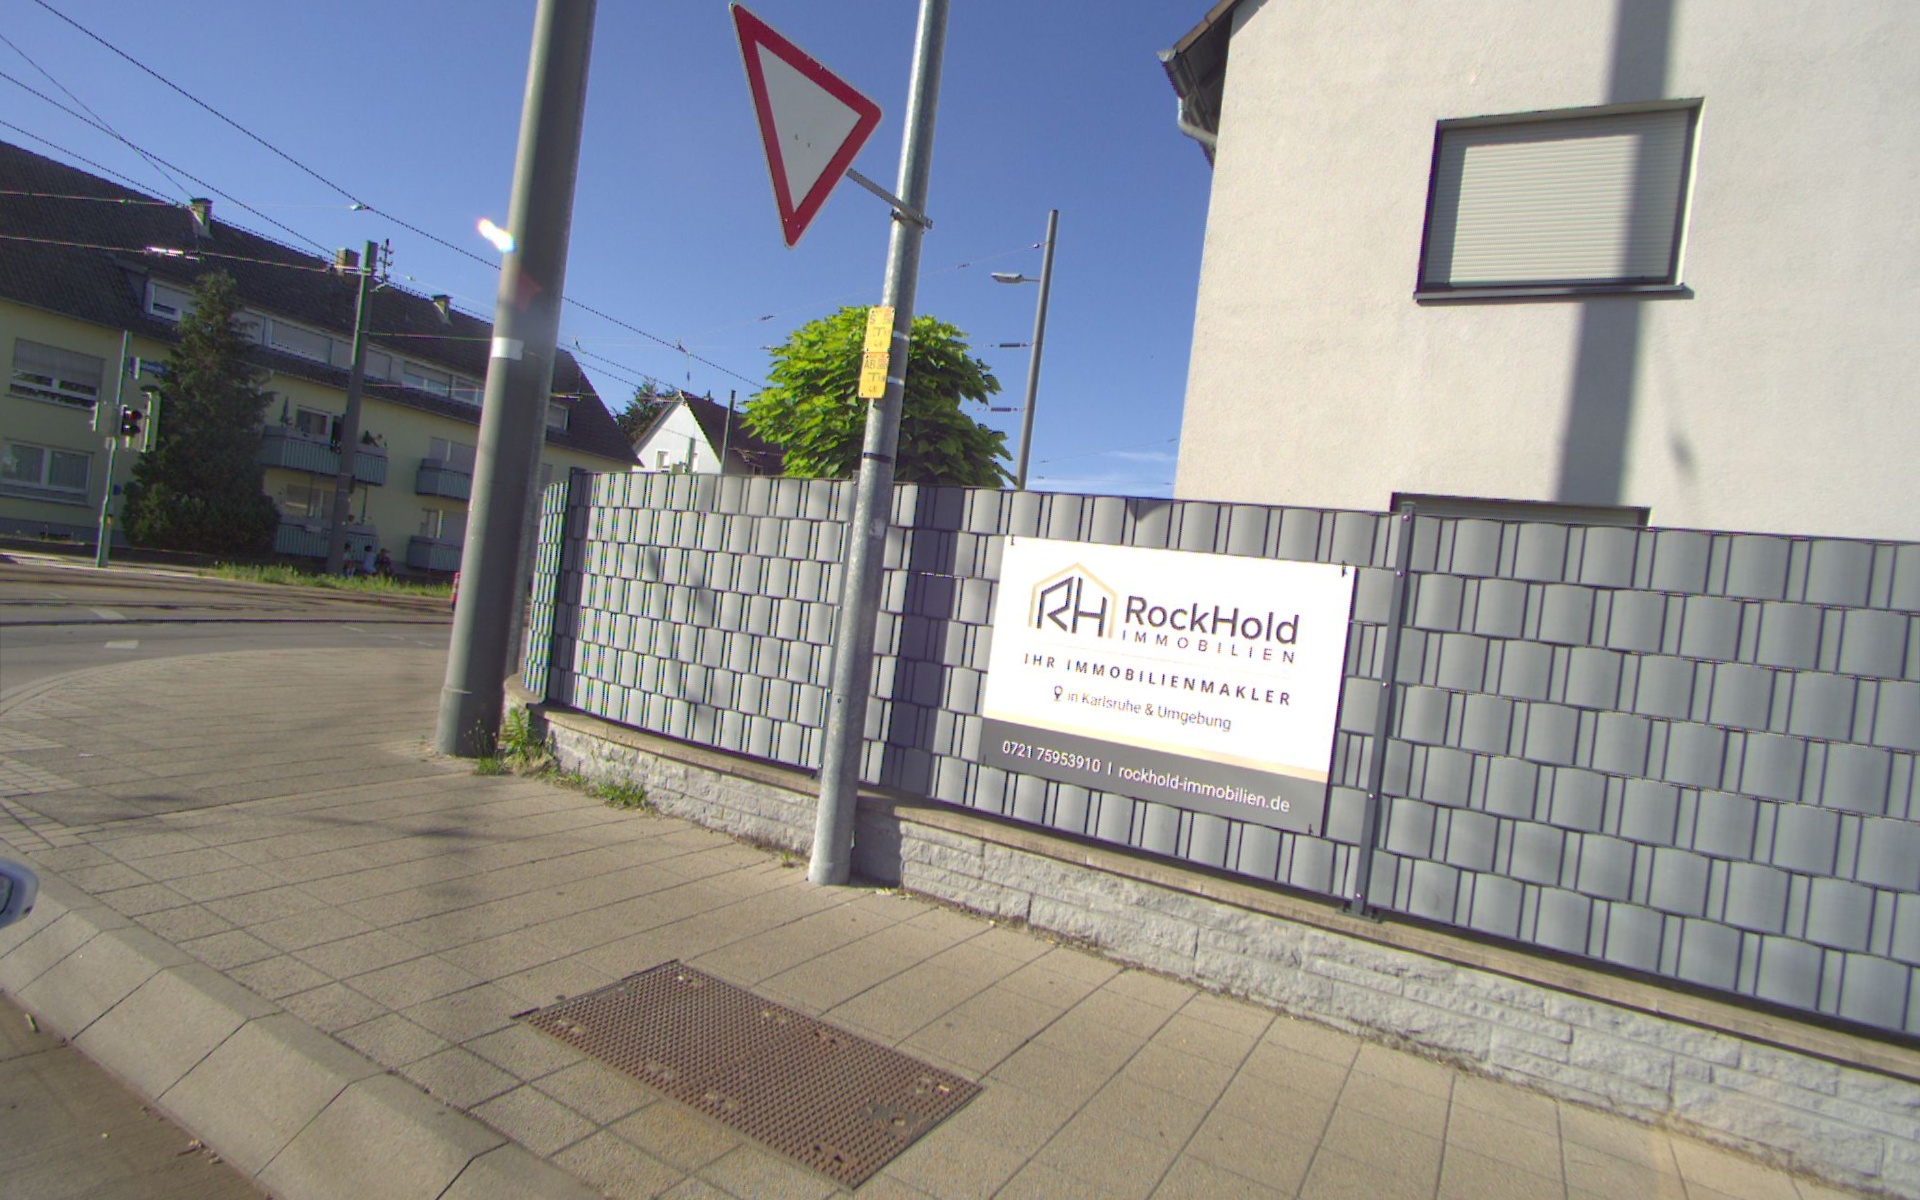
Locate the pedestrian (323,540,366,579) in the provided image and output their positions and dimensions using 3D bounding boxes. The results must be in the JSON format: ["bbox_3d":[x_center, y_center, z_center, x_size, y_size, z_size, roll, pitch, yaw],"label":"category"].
[{"bbox_3d":[-18.816,-1.229,30.769,0.805,1.059,0.688,7,-1,24],"label":"pedestrian"}]

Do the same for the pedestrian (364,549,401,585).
[{"bbox_3d":[-18.480,-1.048,32.219,0.711,1.017,0.595,8,-1,3],"label":"pedestrian"}]

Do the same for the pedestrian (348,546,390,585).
[{"bbox_3d":[-18.542,-1.066,31.570,0.806,1.077,0.626,8,-1,-6],"label":"pedestrian"}]
